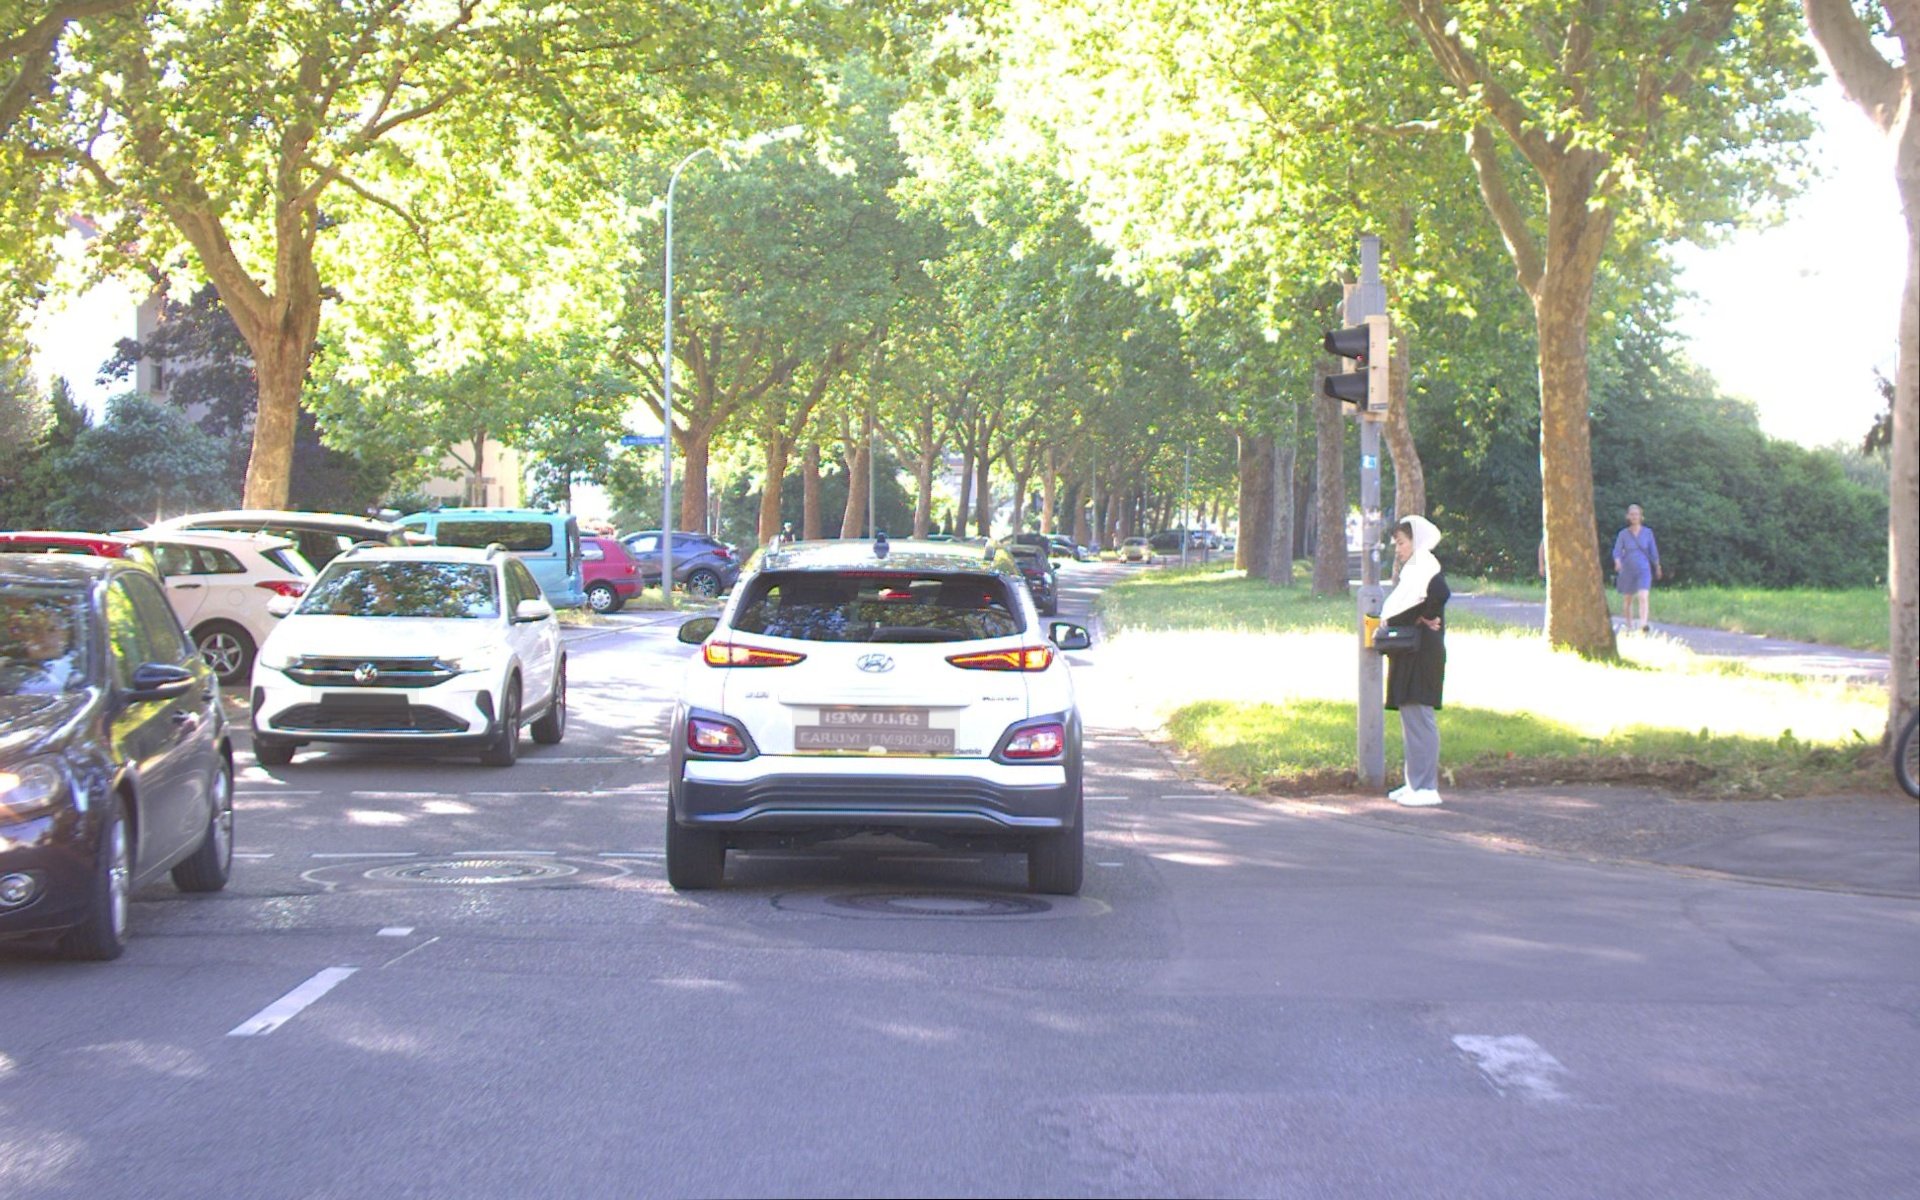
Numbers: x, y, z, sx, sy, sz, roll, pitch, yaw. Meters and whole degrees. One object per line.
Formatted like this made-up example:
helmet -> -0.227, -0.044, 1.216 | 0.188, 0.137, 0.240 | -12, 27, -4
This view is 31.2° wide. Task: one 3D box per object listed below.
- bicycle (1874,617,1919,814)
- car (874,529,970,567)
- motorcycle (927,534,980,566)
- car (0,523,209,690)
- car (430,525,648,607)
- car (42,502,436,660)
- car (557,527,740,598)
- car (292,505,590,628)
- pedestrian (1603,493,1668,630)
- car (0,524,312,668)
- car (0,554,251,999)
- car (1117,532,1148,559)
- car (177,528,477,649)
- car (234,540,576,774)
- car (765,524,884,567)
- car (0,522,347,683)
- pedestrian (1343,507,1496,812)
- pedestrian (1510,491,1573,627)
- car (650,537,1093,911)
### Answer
bicycle -> 5.810, 0.637, 18.409 | 1.718, 1.031, 0.445 | 1, 4, 35
car -> -1.686, -2.325, 153.631 | 4.183, 1.579, 2.000 | 1, 1, 2
motorcycle -> -0.301, -2.254, 155.912 | 2.385, 1.383, 0.648 | 1, 2, 1
car -> -8.855, 0.028, 32.046 | 3.339, 1.475, 1.695 | 1, 1, -1
car -> -7.836, -0.645, 64.164 | 3.871, 1.513, 1.665 | 0, 1, -1
car -> -8.189, -0.232, 39.292 | 4.091, 1.710, 1.832 | 1, 1, 0
car -> -7.048, -0.863, 78.032 | 3.988, 1.513, 1.817 | 1, 1, -1
car -> -8.139, -0.544, 54.223 | 4.385, 1.818, 1.996 | 1, 1, -1
pedestrian -> 9.146, -0.527, 46.588 | 0.754, 1.841, 0.802 | 0, 1, 4
car -> -9.051, -0.060, 37.124 | 3.758, 1.478, 1.754 | 1, 1, 0
car -> -3.922, 0.558, 13.343 | 1.726, 1.459, 4.069 | 0, 1, -3
car -> 9.591, -3.037, 191.126 | 1.689, 1.460, 3.694 | 1, 1, 3
car -> -8.412, -0.167, 45.857 | 3.642, 1.511, 1.782 | 1, 1, 1
car -> -3.853, 0.334, 24.496 | 1.716, 1.496, 4.094 | 1, 1, 1
car -> -4.575, -1.856, 116.430 | 3.826, 1.312, 1.790 | 2, 1, 4
car -> -8.357, -0.005, 34.265 | 4.161, 1.496, 1.876 | 1, 1, -1
pedestrian -> 2.660, 0.330, 19.975 | 0.634, 1.713, 0.826 | -2, 2, -7
pedestrian -> 7.914, -0.564, 46.849 | 0.761, 1.839, 0.787 | 0, 1, 4
car -> -0.436, 0.492, 16.309 | 1.835, 1.550, 4.000 | 0, 1, -2
